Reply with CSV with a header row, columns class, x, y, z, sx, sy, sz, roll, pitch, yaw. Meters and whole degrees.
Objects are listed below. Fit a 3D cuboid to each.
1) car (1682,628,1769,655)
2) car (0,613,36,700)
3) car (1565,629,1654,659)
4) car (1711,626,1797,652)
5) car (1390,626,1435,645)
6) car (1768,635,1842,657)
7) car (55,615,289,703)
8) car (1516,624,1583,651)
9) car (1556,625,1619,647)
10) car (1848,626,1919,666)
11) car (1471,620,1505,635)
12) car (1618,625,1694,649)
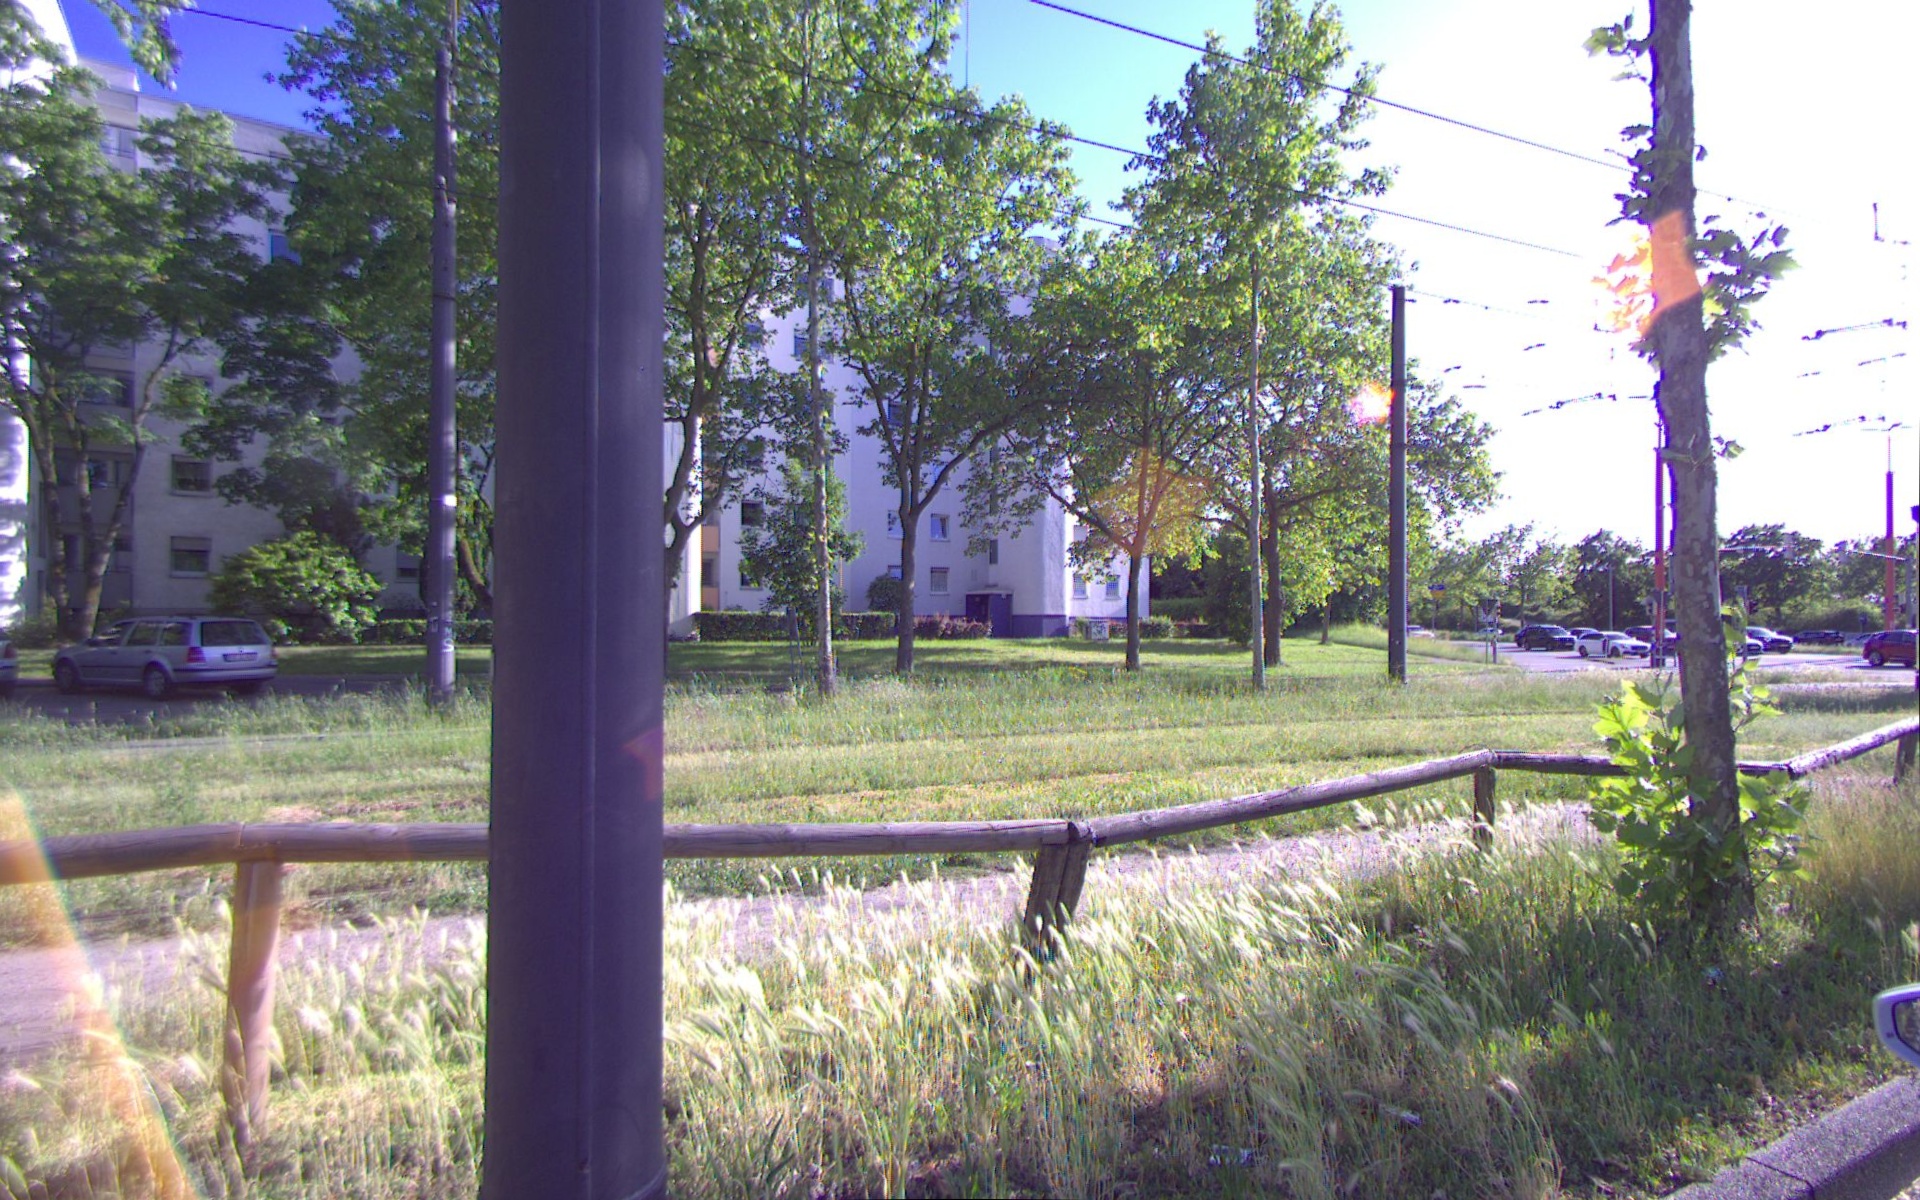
class,x,y,z,sx,sy,sz,roll,pitch,yaw
car,45.658,2.464,60.038,1.877,1.483,4.222,1,-1,-2
car,-17.922,0.927,17.138,3.609,1.452,1.703,0,-1,20
car,38.580,2.578,59.845,1.961,1.596,4.928,1,-1,-3
car,48.622,2.391,61.637,1.877,1.483,4.222,1,-1,-2
car,41.662,3.284,92.637,1.877,1.619,4.795,1,-1,-2
car,67.188,3.650,79.961,1.962,1.617,4.465,1,-1,-5
car,-14.478,1.026,18.482,3.609,1.452,1.732,0,-1,20
car,42.099,2.636,71.863,1.877,1.860,4.795,1,-1,-2
car,45.003,2.564,72.137,1.877,1.483,4.055,1,-1,-3
car,42.599,2.047,44.855,1.806,1.690,4.565,1,-1,-1
car,62.460,3.245,118.992,1.824,1.601,3.999,1,-1,-2
car,45.527,2.405,65.803,1.877,1.483,4.373,1,-1,-2
